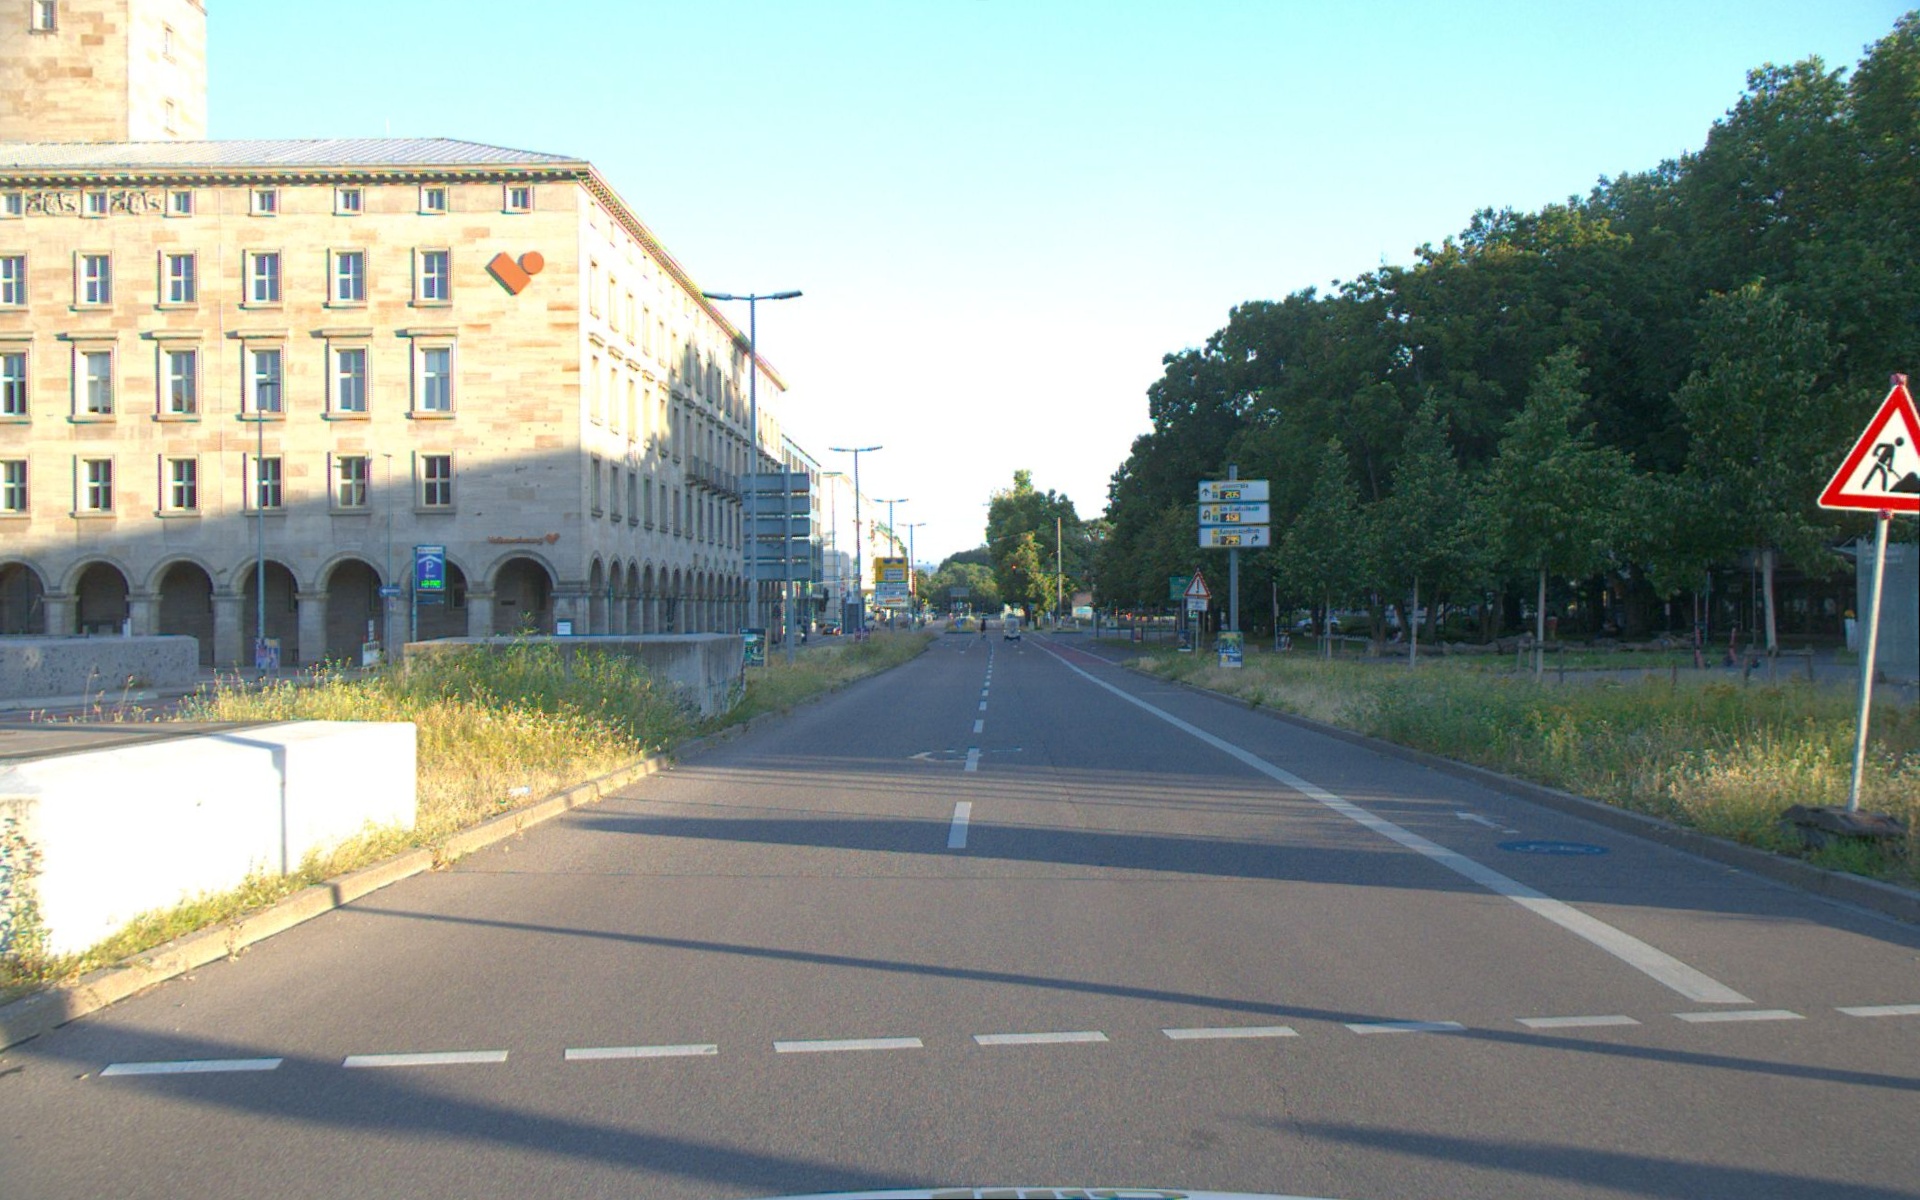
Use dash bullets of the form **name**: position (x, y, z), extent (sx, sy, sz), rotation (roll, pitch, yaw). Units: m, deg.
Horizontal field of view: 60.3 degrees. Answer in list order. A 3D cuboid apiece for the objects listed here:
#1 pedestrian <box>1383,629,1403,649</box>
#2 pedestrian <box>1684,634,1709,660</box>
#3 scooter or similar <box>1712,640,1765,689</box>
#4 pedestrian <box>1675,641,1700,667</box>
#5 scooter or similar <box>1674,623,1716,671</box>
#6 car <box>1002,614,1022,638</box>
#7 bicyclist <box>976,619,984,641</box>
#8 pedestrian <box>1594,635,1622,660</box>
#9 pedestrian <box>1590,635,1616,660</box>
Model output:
- **pedestrian**: position (19.870, 1.787, 75.836), extent (0.670, 0.900, 0.588), rotation (2, -1, -24)
- **pedestrian**: position (33.952, 2.177, 76.251), extent (0.771, 1.184, 0.766), rotation (-1, -2, -5)
- **scooter or similar**: position (20.661, 1.696, 43.939), extent (0.464, 1.242, 1.572), rotation (-3, -1, -6)
- **pedestrian**: position (33.926, 2.536, 77.097), extent (0.771, 1.184, 0.766), rotation (-1, -2, -5)
- **scooter or similar**: position (19.488, 1.243, 43.876), extent (0.415, 1.242, 1.398), rotation (-4, -1, 1)
- **car**: position (4.092, 2.045, 130.056), extent (1.429, 1.812, 2.565), rotation (-1, -1, 3)
- **bicyclist**: position (1.572, 2.420, 132.273), extent (0.615, 1.723, 0.748), rotation (-1, -2, 0)
- **pedestrian**: position (33.891, 2.481, 86.505), extent (1.108, 1.283, 0.905), rotation (-1, -2, 3)
- **pedestrian**: position (33.999, 2.491, 87.455), extent (1.108, 1.283, 0.726), rotation (-1, -2, 3)
